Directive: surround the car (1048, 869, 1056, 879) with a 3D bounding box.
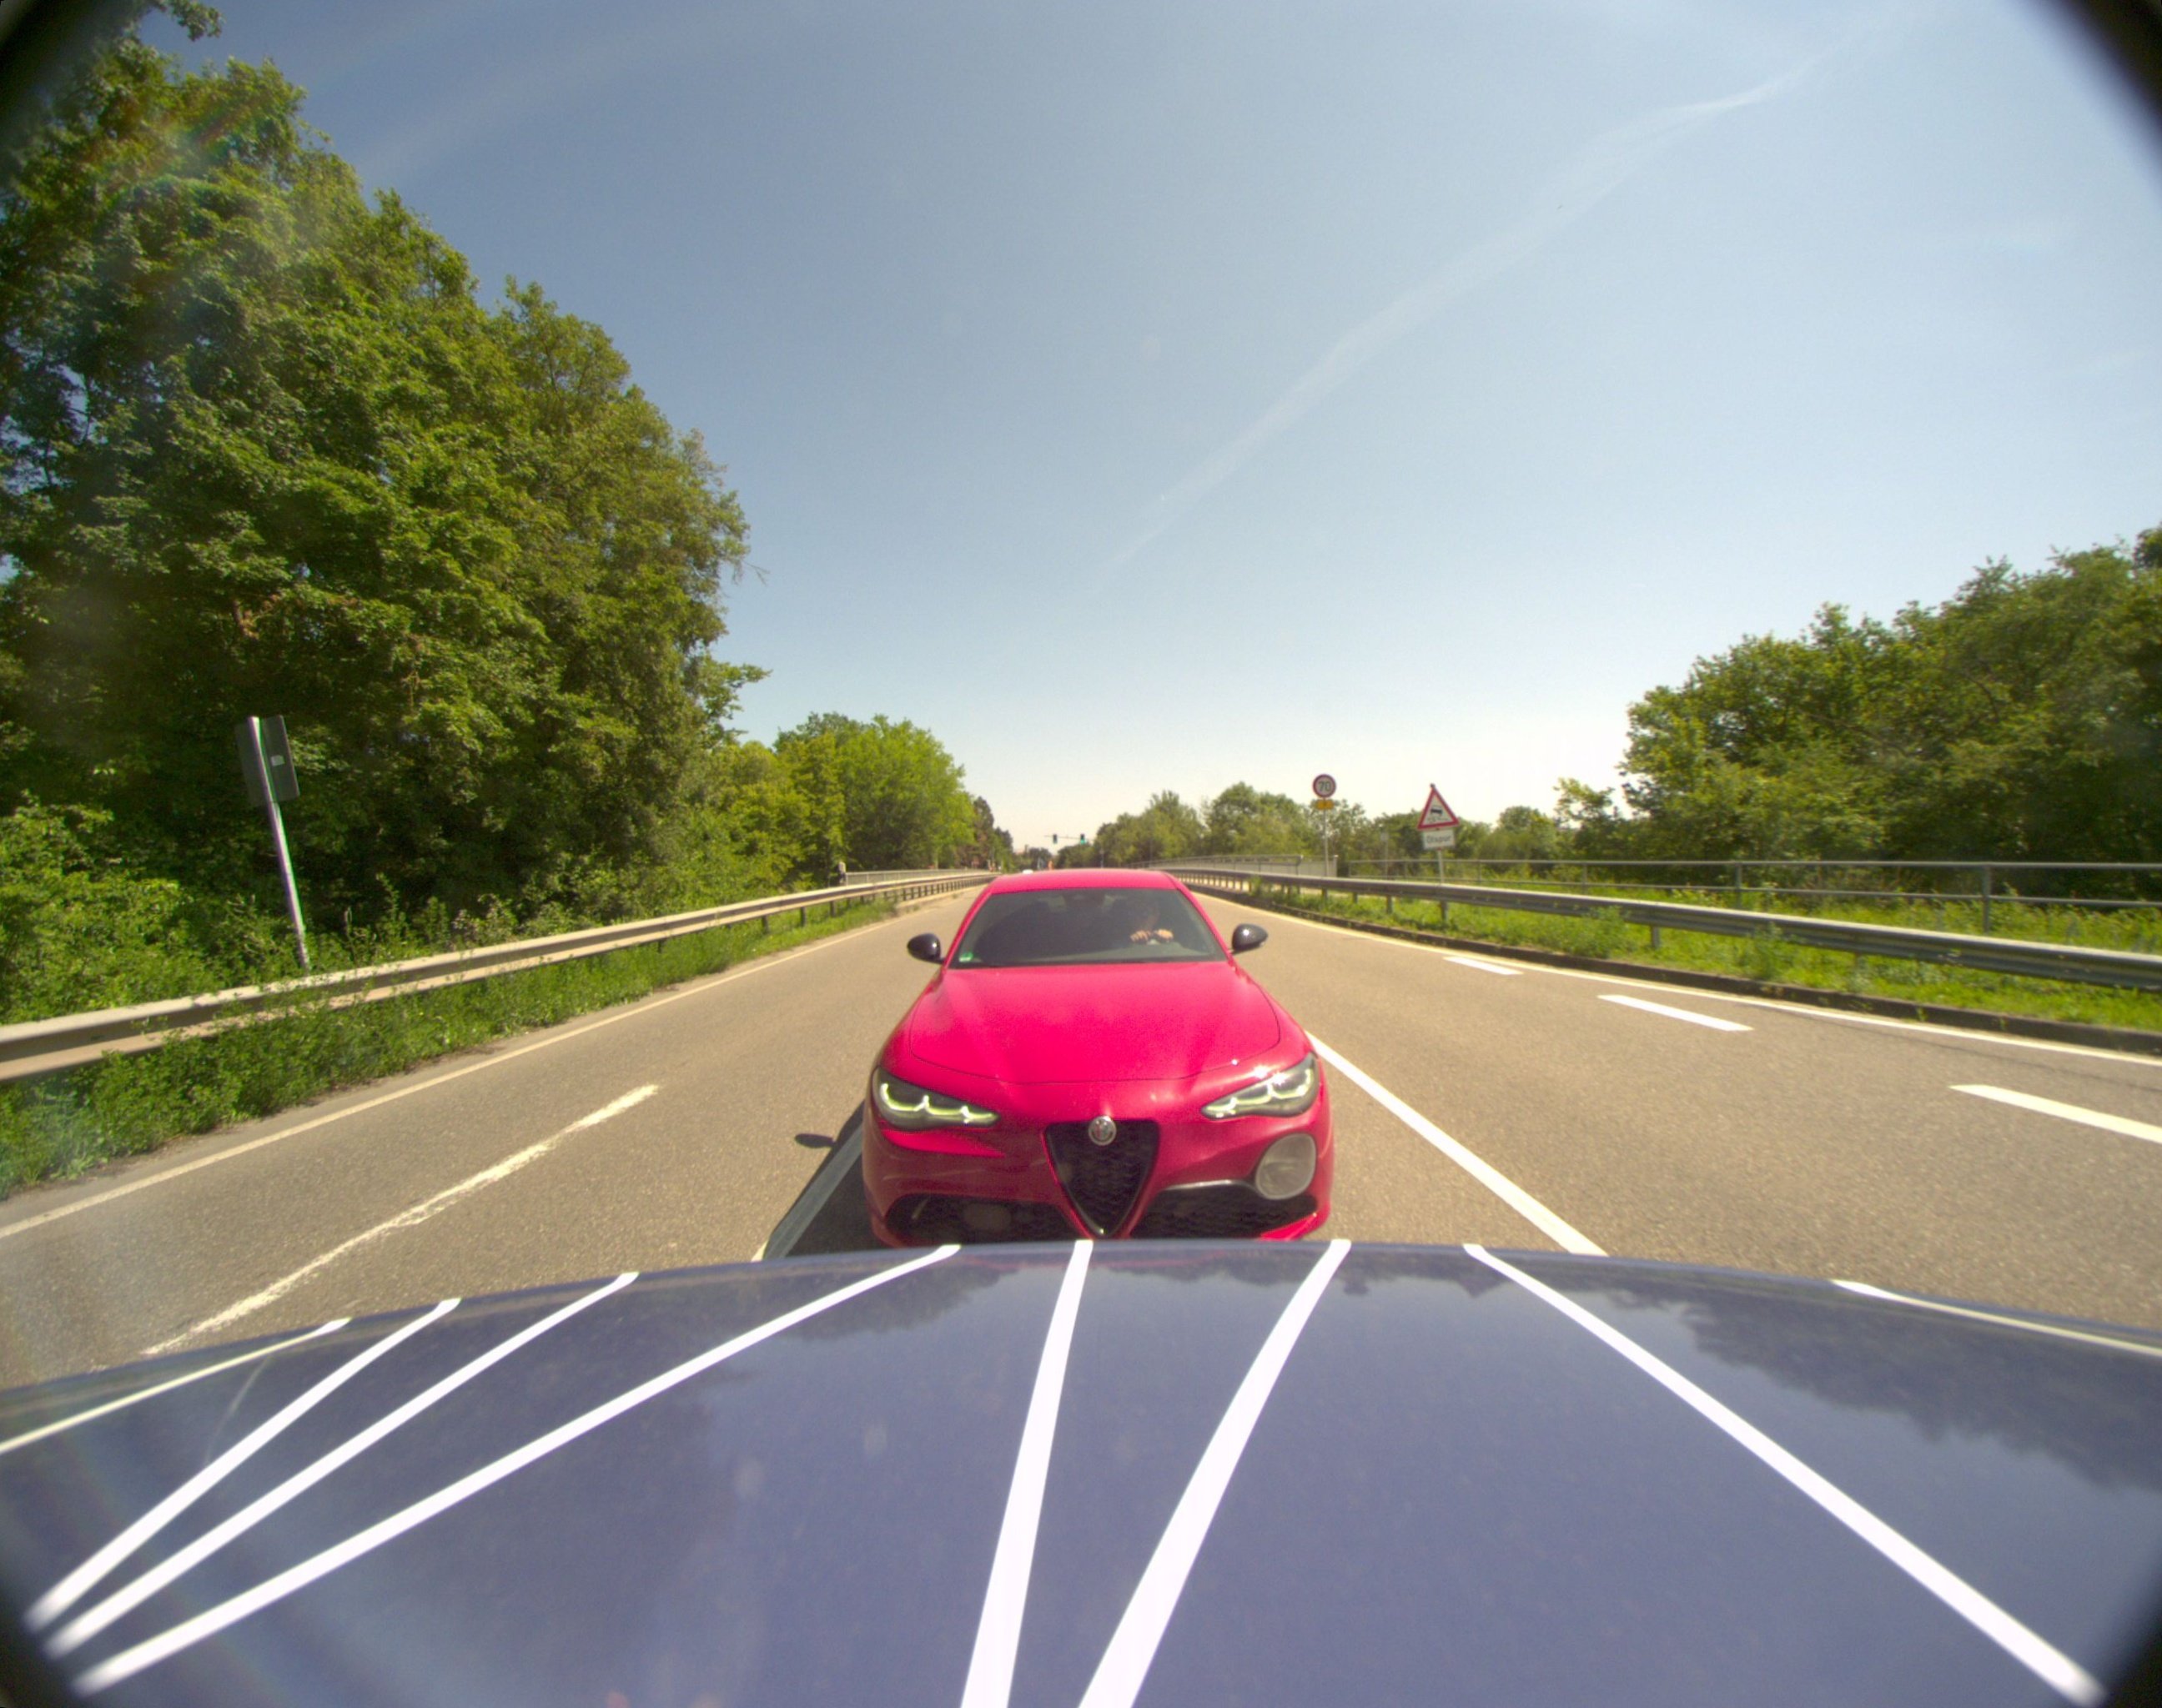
[{"bbox_3d":[-7.309,4.995,192.167,1.996,2.354,5.180,-2,0,-3],"label":"car"}]

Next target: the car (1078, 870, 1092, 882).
[{"bbox_3d":[0.480,2.792,97.977,1.649,1.410,3.765,-2,0,-1],"label":"car"}]

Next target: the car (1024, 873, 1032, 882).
[{"bbox_3d":[-9.301,4.160,133.054,1.416,1.499,3.315,-1,0,-3],"label":"car"}]

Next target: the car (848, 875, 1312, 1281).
[{"bbox_3d":[-0.040,0.939,5.136,1.801,1.448,4.284,-1,0,-1],"label":"car"}]

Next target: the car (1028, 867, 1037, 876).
[{"bbox_3d":[-8.971,3.233,140.446,1.476,1.565,3.487,-1,0,-4],"label":"car"}]

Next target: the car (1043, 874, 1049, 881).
[{"bbox_3d":[-10.479,7.082,227.697,1.848,1.758,3.999,-1,0,-1],"label":"car"}]
